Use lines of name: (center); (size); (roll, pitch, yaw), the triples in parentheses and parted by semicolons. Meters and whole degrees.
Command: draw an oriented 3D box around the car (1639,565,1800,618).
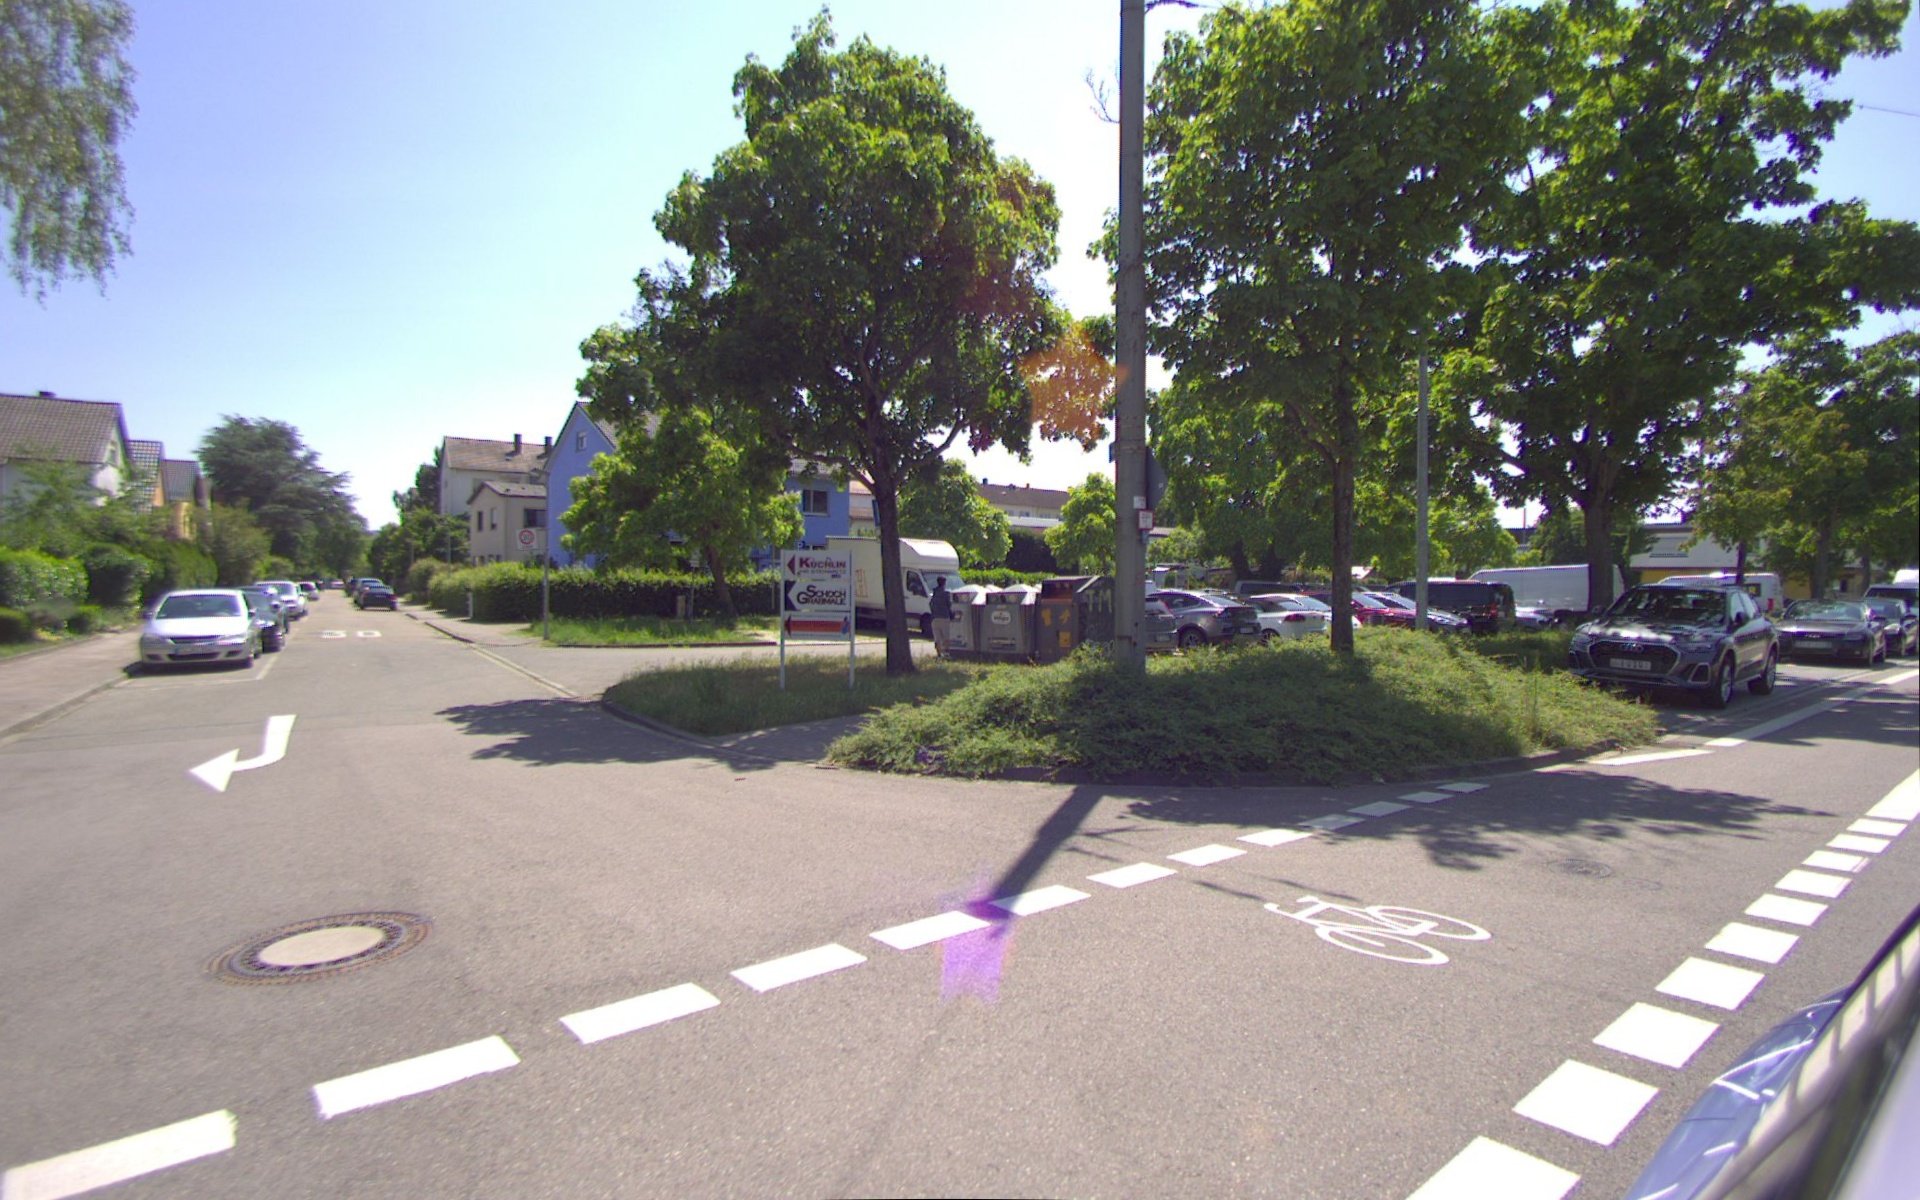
car: (39.783, -0.382, 53.205); (2.221, 2.561, 6.357); (0, -1, -37)

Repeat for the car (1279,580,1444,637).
car: (11.376, 0.245, 28.895); (1.739, 1.510, 4.026); (0, -1, -41)

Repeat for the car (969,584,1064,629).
car: (2.058, 0.201, 37.570); (1.651, 1.446, 3.475); (0, 3, -38)

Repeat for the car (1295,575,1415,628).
car: (20.592, 0.005, 52.964); (2.057, 2.489, 5.505); (0, 3, -39)

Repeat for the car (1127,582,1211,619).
car: (9.168, -0.020, 44.504); (1.651, 1.446, 3.344); (0, 3, -38)

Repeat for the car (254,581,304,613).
car: (-29.894, -0.151, 44.518); (1.687, 1.363, 3.796); (0, 0, -32)

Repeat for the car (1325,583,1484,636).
car: (13.296, 0.297, 30.427); (1.739, 1.510, 4.026); (0, -1, -41)

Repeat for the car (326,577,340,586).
car: (-93.212, -2.747, 150.450); (1.687, 1.363, 3.796); (0, 0, -32)

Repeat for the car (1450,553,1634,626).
car: (21.390, -0.328, 37.448); (2.057, 2.491, 5.501); (0, -1, -39)

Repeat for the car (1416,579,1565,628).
car: (17.648, 0.143, 33.808); (1.739, 1.510, 4.026); (0, -1, -41)

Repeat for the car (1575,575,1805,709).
car: (11.029, 0.483, 15.161); (4.626, 1.652, 1.716); (-1, 4, -41)

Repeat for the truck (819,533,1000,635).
truck: (-1.892, -0.667, 34.469); (2.382, 3.123, 6.962); (0, 3, -40)

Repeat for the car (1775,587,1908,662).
car: (20.002, 0.484, 22.898); (4.628, 1.435, 1.715); (0, 3, -42)

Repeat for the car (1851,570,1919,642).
car: (28.160, 0.167, 29.763); (5.180, 1.901, 2.003); (0, 3, -39)

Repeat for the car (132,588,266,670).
car: (-14.130, 0.469, 18.969); (1.687, 1.363, 3.796); (0, 0, -32)

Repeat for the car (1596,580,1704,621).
car: (31.738, 0.057, 46.618); (1.922, 1.807, 3.781); (0, -1, -44)

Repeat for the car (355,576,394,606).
car: (-32.293, -0.506, 55.779); (1.687, 1.602, 3.796); (0, 0, -32)

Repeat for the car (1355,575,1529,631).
car: (15.420, 0.124, 32.589); (1.919, 1.665, 4.702); (0, -1, -39)

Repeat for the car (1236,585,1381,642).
car: (9.414, 0.358, 27.515); (1.652, 1.447, 3.341); (0, -1, -39)

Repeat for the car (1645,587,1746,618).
car: (37.463, 0.135, 51.619); (1.698, 1.491, 3.890); (0, -1, -42)

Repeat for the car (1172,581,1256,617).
car: (11.375, -0.082, 45.480); (1.651, 1.446, 3.344); (0, 3, -38)

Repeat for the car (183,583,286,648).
car: (-16.554, 0.307, 23.247); (1.687, 1.363, 3.796); (0, 0, -32)

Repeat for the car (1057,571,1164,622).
car: (5.965, -0.190, 40.460); (1.724, 1.830, 4.005); (0, 3, -43)

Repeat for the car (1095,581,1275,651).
car: (5.244, 0.375, 23.916); (1.740, 1.508, 3.864); (0, -1, -42)

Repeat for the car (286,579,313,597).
car: (-51.244, -0.925, 78.607); (1.687, 1.363, 3.796); (0, 0, -32)

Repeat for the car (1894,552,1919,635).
car: (33.392, -0.180, 34.135); (6.035, 2.668, 2.002); (0, 3, -41)

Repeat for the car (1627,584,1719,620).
car: (35.419, 0.126, 50.334); (1.697, 1.739, 3.378); (0, -1, -39)

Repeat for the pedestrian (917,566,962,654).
pedestrian: (-0.421, 0.204, 20.918); (0.676, 1.779, 0.679); (0, 0, -37)

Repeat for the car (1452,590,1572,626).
car: (19.392, 0.306, 35.650); (1.652, 1.204, 3.341); (0, -1, -39)

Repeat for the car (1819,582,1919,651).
car: (23.835, 0.387, 26.179); (3.770, 1.559, 1.717); (0, 3, -39)

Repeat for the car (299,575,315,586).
car: (-85.275, -2.535, 132.230); (1.687, 1.363, 3.796); (0, 0, -32)

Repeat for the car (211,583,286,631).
car: (-21.670, 0.179, 30.929); (1.687, 1.363, 3.796); (0, 0, -32)

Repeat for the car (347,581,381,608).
car: (-36.957, -0.343, 62.700); (1.687, 1.602, 3.796); (0, 0, -32)

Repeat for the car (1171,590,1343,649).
car: (7.443, 0.494, 25.635); (1.738, 1.375, 3.868); (0, -1, -39)

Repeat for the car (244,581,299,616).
car: (-27.509, -0.076, 40.516); (1.687, 1.363, 3.796); (0, 0, -32)

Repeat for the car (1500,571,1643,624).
car: (23.709, -0.073, 39.346); (1.922, 1.933, 4.408); (0, -1, -44)

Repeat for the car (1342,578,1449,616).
car: (24.187, -0.214, 56.356); (2.057, 1.899, 5.110); (0, 3, -39)

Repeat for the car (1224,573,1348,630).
car: (15.867, -0.009, 49.482); (2.057, 2.489, 5.505); (0, 3, -39)

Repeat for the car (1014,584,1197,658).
car: (3.193, 0.464, 22.769); (1.740, 1.508, 3.864); (0, -1, -42)
